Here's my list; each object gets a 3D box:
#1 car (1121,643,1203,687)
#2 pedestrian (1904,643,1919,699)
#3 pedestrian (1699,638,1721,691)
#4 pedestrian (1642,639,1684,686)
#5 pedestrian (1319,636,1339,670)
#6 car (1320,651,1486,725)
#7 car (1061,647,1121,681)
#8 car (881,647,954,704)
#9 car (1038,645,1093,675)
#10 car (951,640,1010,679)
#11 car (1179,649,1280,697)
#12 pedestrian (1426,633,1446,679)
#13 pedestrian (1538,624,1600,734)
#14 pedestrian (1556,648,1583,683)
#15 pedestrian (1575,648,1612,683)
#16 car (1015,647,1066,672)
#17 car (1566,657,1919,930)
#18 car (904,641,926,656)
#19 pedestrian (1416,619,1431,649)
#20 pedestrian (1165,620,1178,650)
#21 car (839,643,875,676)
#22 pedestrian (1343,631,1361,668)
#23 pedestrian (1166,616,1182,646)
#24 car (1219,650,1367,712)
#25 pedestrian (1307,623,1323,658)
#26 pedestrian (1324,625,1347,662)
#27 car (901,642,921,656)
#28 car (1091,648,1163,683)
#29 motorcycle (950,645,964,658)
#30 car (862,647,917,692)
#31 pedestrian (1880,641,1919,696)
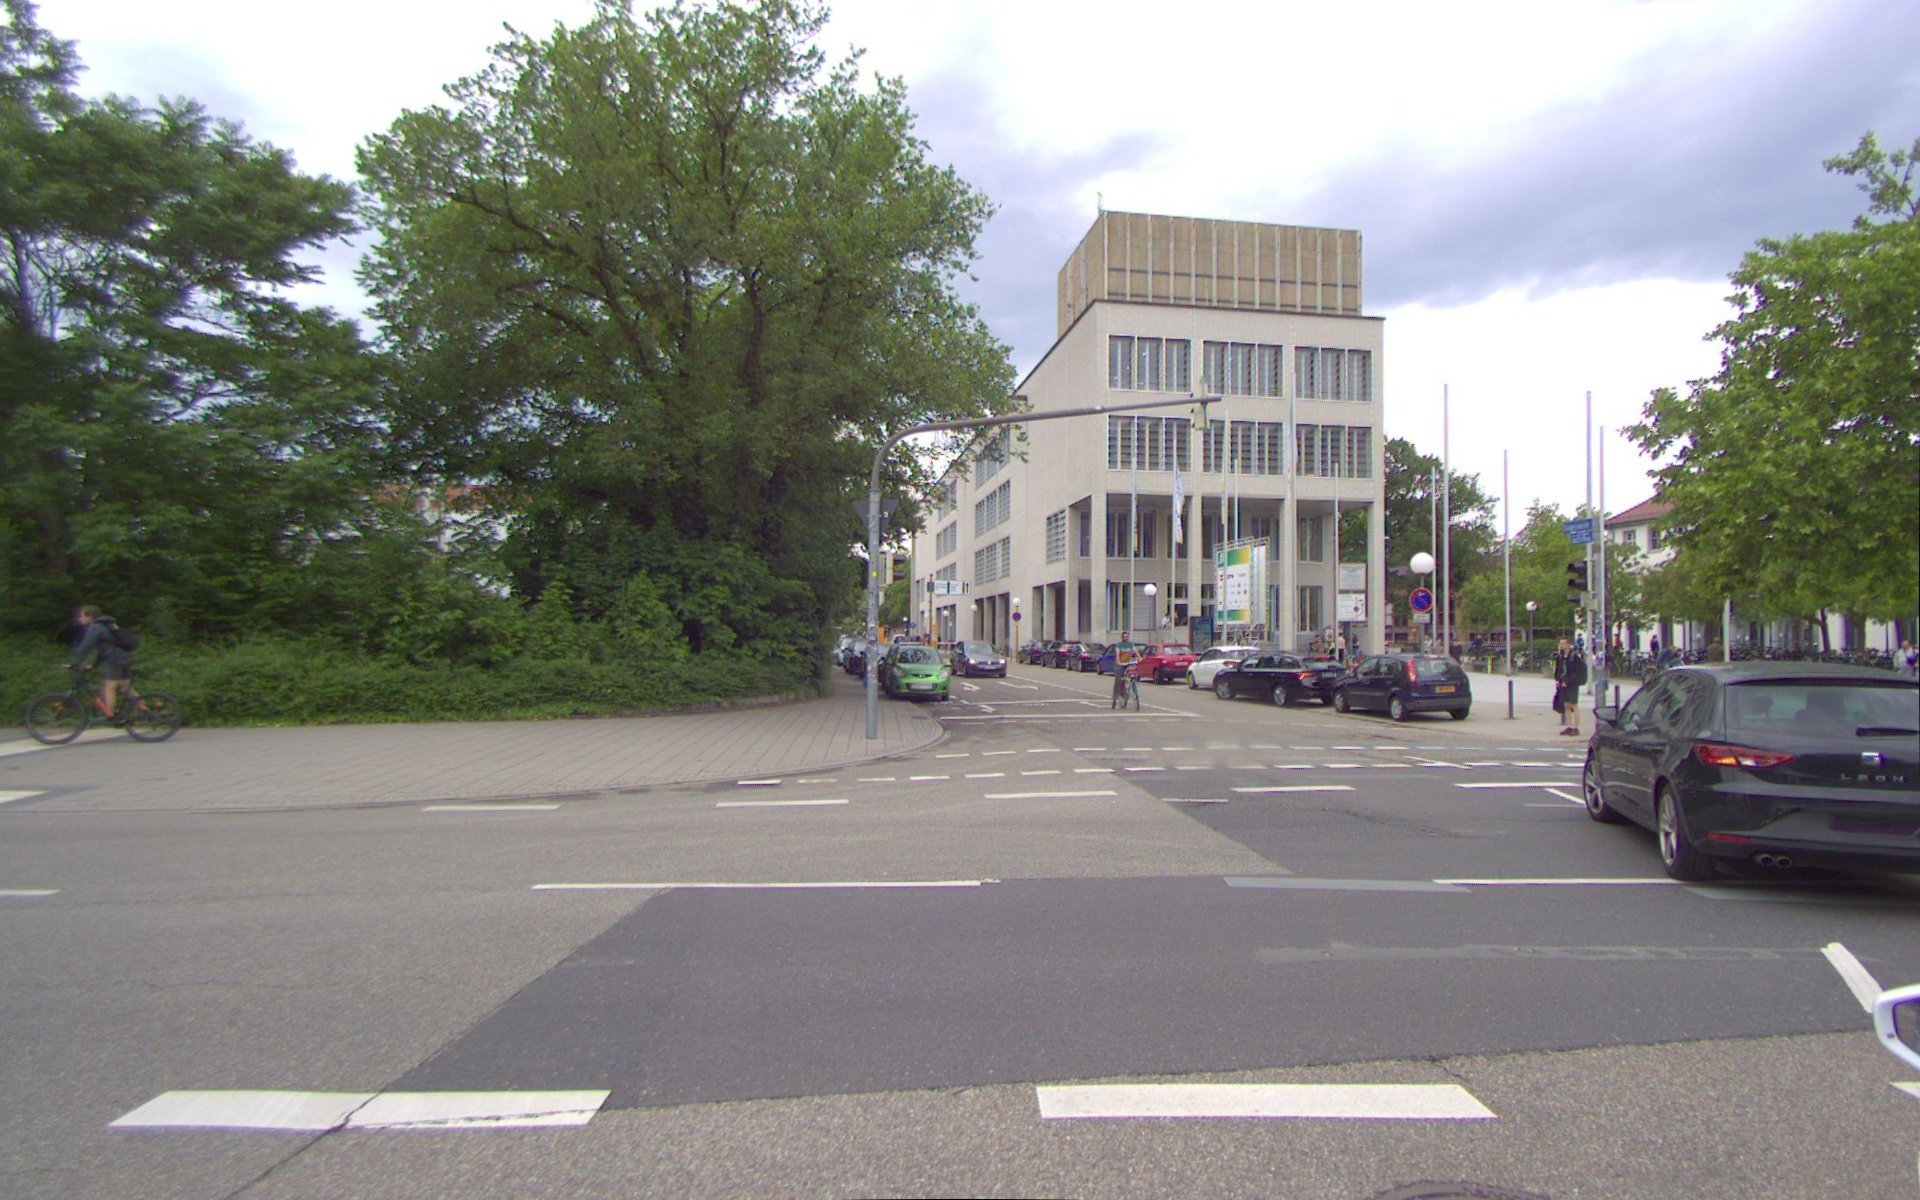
[{"bbox_3d":[7.717,2.470,38.755,1.686,1.492,4.268,-2,-2,-9],"label":"car"},{"bbox_3d":[30.346,2.230,31.634,0.574,1.738,0.657,0,-2,-5],"label":"pedestrian"},{"bbox_3d":[26.566,2.268,35.590,0.502,1.857,0.672,-1,-3,31],"label":"pedestrian"},{"bbox_3d":[26.510,2.342,37.911,0.837,1.726,0.967,1,-2,-10],"label":"pedestrian"},{"bbox_3d":[19.283,2.768,52.495,0.765,1.738,0.603,1,-2,-8],"label":"pedestrian"},{"bbox_3d":[10.196,1.975,23.485,1.597,1.521,4.101,-2,-3,-8],"label":"car"},{"bbox_3d":[6.406,3.114,49.499,1.820,1.461,4.413,1,-1,-8],"label":"car"},{"bbox_3d":[-1.288,2.116,28.899,1.770,1.488,4.245,0,-3,-7],"label":"car"},{"bbox_3d":[5.654,3.204,54.325,1.791,1.462,4.514,-1,-2,-10],"label":"car"},{"bbox_3d":[0.801,2.461,41.993,1.756,1.517,4.163,0,-3,-9],"label":"car"},{"bbox_3d":[8.815,2.361,33.205,1.832,1.472,3.854,1,-2,-9],"label":"car"},{"bbox_3d":[19.482,2.266,41.106,0.632,1.832,0.647,2,0,31],"label":"pedestrian"},{"bbox_3d":[11.258,1.437,18.589,0.777,1.977,0.758,0,-2,15],"label":"pedestrian"},{"bbox_3d":[25.775,2.764,42.485,0.668,1.431,0.761,2,-3,-40],"label":"pedestrian"},{"bbox_3d":[26.217,2.693,41.570,0.839,1.439,0.965,1,-3,-20],"label":"pedestrian"},{"bbox_3d":[4.761,3.523,60.077,1.963,1.471,4.917,0,-3,-9],"label":"car"},{"bbox_3d":[5.909,1.182,7.521,1.754,1.437,4.129,0,-2,23],"label":"car"},{"bbox_3d":[-5.089,5.520,113.652,1.964,1.644,4.422,0,-3,-10],"label":"car"},{"bbox_3d":[25.736,1.874,55.797,0.723,1.663,0.931,2,0,25],"label":"pedestrian"},{"bbox_3d":[12.296,2.043,58.431,0.618,1.681,0.807,2,0,7],"label":"pedestrian"},{"bbox_3d":[-5.522,3.146,53.591,1.690,1.607,3.872,1,-2,-9],"label":"car"},{"bbox_3d":[20.024,2.534,51.298,0.594,1.889,0.775,-3,-3,40],"label":"pedestrian"},{"bbox_3d":[12.243,1.786,57.505,0.791,1.681,0.631,2,0,16],"label":"pedestrian"},{"bbox_3d":[9.108,2.178,27.934,1.834,1.420,4.468,-2,-1,-13],"label":"car"},{"bbox_3d":[18.994,2.162,53.769,0.582,1.864,0.619,1,-3,-8],"label":"pedestrian"},{"bbox_3d":[18.696,2.160,50.035,0.753,1.808,0.733,1,-3,-22],"label":"pedestrian"},{"bbox_3d":[-5.767,5.739,118.118,1.963,1.644,4.422,-1,-2,-9],"label":"car"},{"bbox_3d":[7.318,2.864,44.412,1.671,1.430,4.368,0,-3,-12],"label":"car"},{"bbox_3d":[-0.288,5.389,105.445,0.746,1.163,2.664,2,0,16],"label":"motorcycle"},{"bbox_3d":[-2.818,2.663,39.443,1.771,1.581,4.524,0,-2,-9],"label":"car"},{"bbox_3d":[30.290,2.194,32.313,0.660,1.738,0.678,-1,-2,-3],"label":"pedestrian"}]
